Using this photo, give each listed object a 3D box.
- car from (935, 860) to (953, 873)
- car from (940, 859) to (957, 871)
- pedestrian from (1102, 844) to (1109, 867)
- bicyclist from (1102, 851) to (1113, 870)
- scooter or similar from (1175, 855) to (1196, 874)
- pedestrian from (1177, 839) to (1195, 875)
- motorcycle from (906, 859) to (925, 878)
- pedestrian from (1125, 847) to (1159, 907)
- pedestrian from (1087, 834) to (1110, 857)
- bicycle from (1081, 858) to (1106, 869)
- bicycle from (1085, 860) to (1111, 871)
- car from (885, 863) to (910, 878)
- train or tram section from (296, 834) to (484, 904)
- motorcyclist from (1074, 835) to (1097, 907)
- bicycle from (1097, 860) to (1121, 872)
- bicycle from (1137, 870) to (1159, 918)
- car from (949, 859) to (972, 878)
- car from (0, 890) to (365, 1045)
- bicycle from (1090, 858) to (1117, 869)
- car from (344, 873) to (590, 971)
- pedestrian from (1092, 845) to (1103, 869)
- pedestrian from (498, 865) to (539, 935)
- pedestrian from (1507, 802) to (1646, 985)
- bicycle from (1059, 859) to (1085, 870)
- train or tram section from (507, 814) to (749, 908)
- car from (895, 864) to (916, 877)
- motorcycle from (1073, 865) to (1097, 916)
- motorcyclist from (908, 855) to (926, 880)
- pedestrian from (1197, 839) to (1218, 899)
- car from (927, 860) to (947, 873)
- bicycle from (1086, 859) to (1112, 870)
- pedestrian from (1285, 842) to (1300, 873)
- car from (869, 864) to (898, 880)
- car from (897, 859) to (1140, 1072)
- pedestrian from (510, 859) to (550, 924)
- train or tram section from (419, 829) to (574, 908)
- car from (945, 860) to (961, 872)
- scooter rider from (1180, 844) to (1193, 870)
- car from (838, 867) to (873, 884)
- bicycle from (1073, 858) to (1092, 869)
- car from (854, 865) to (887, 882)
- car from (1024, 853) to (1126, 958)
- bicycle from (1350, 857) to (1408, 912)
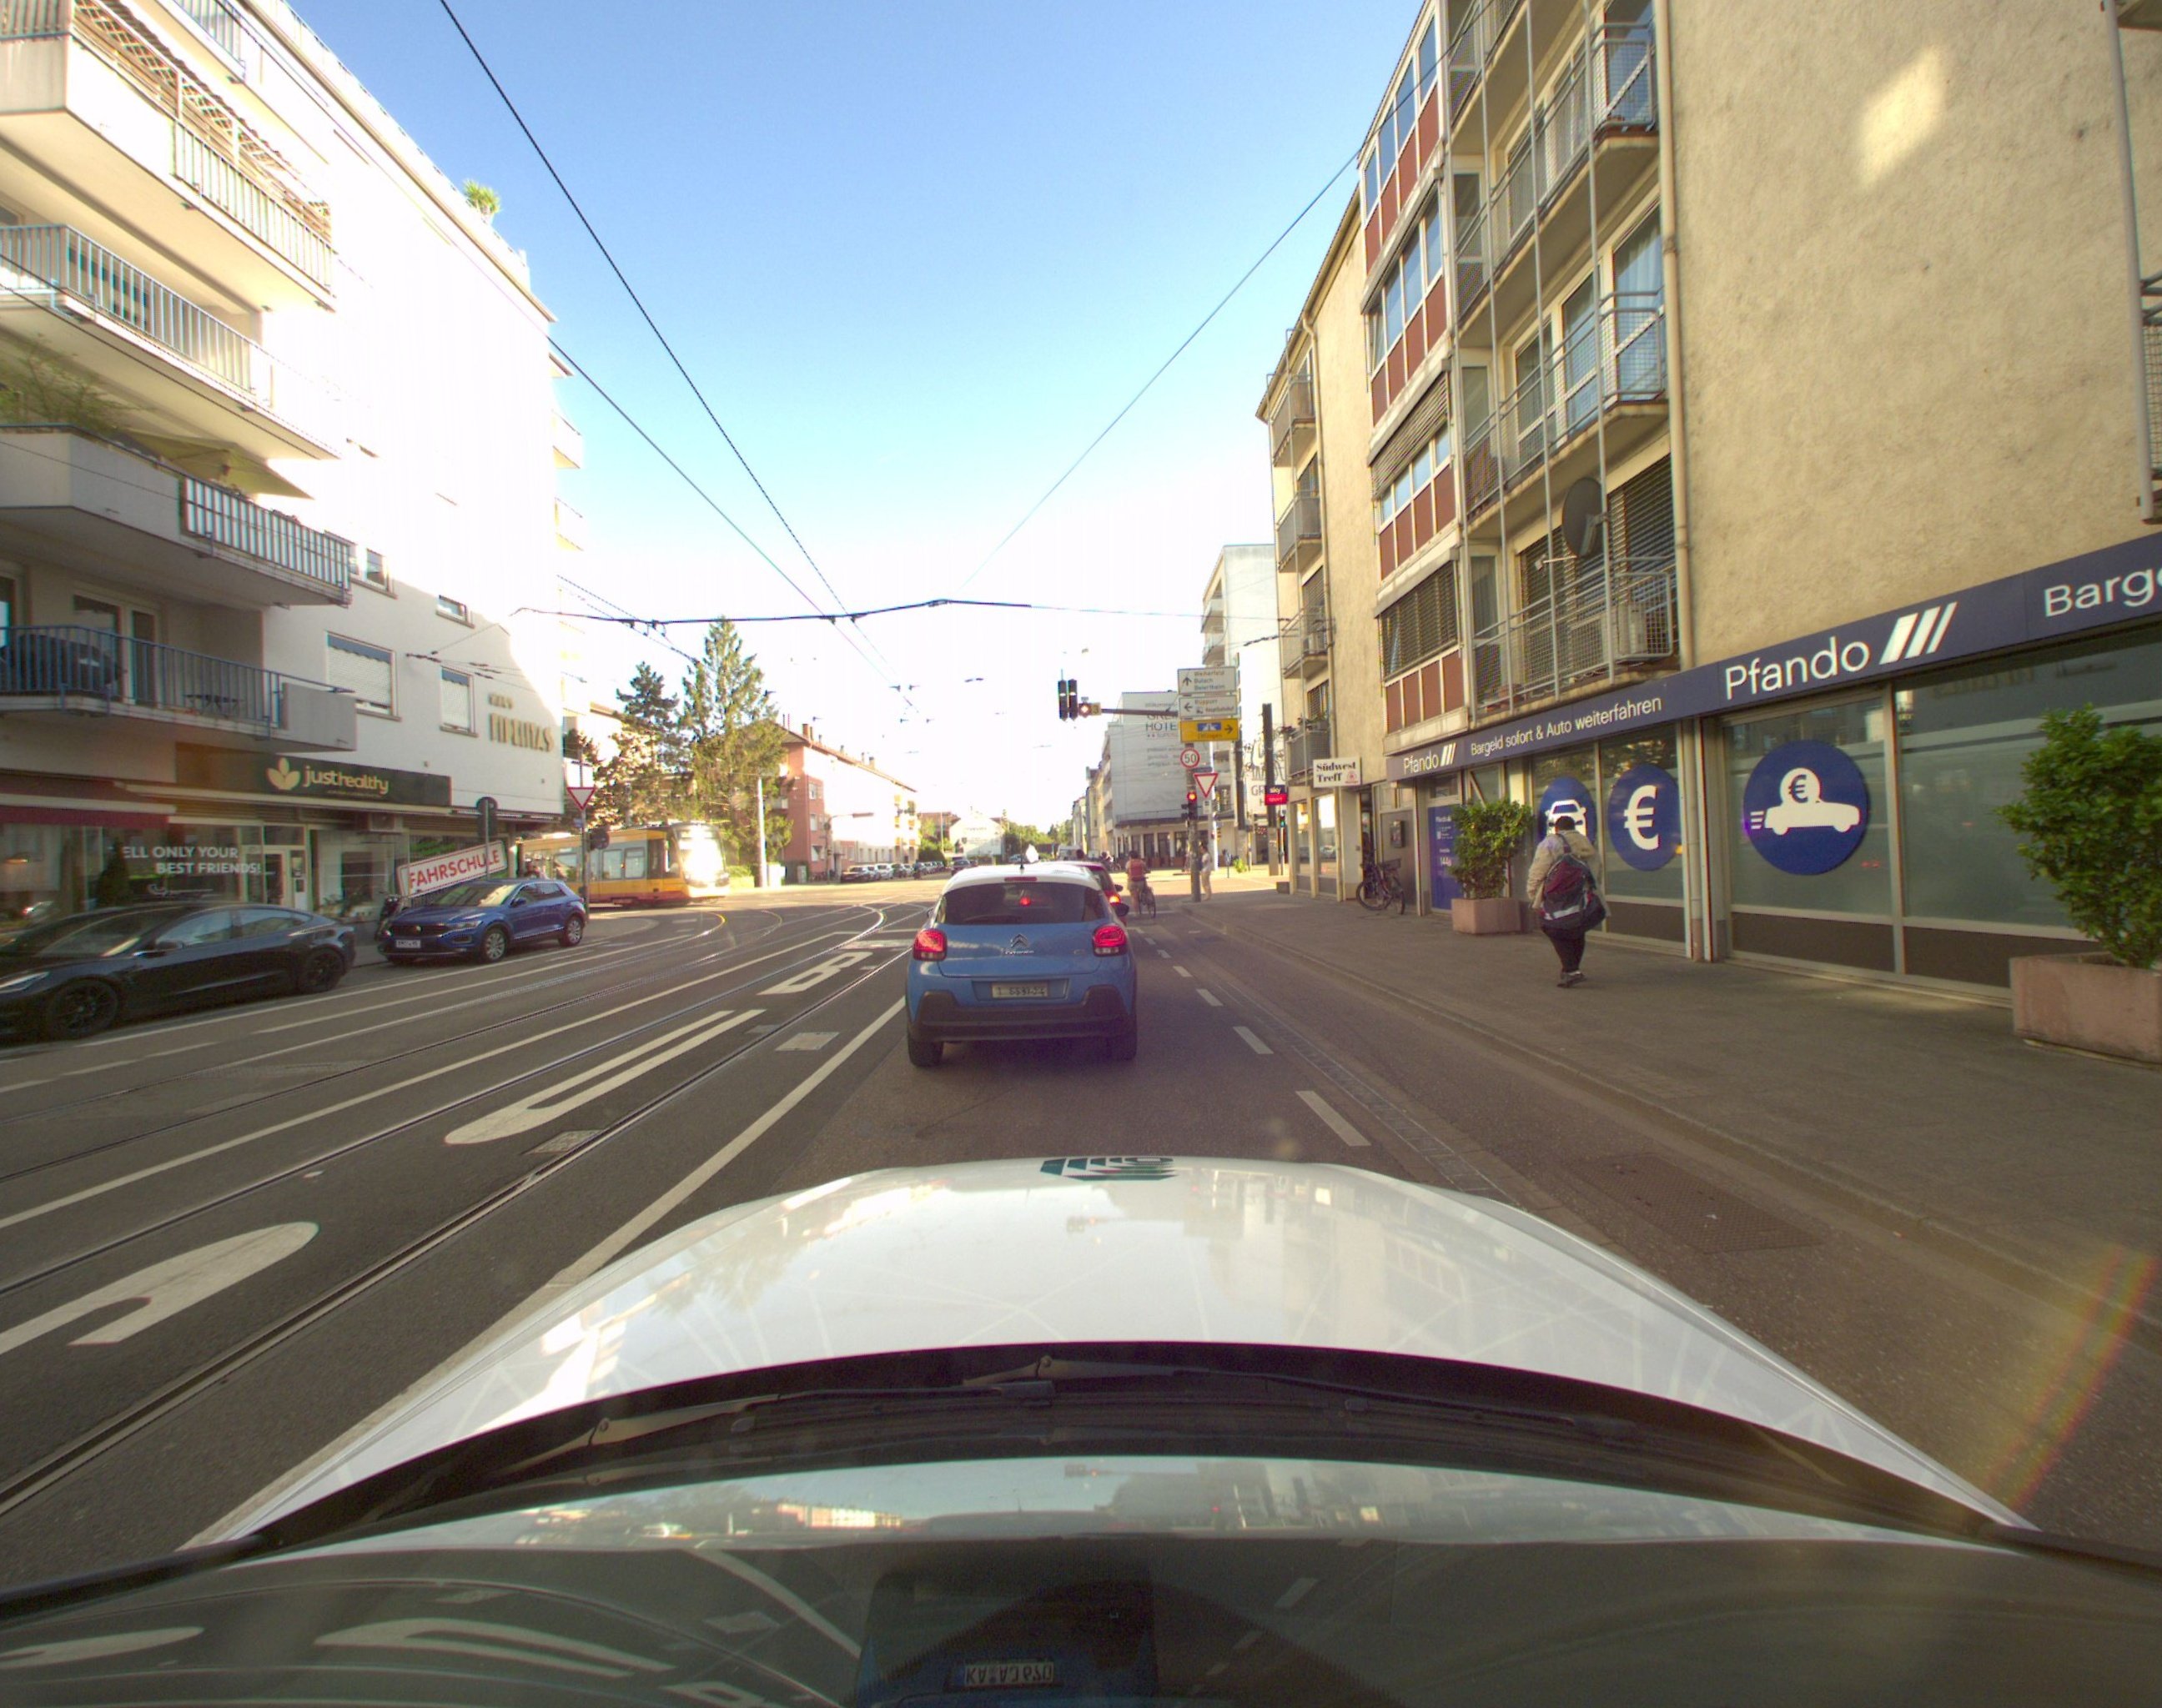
[{"bbox_3d":[-18.871,1.677,111.975,1.877,1.687,3.998,0,-1,-1],"label":"car"},{"bbox_3d":[-19.078,1.567,117.257,1.828,1.687,3.998,0,-1,-1],"label":"car"},{"bbox_3d":[2.137,0.147,70.300,0.575,2.014,0.625,0,-1,-1],"label":"pedestrian"},{"bbox_3d":[2.028,0.514,62.448,0.739,1.477,0.565,-1,-1,20],"label":"bicyclist"},{"bbox_3d":[7.336,0.719,57.410,1.339,1.269,0.446,-3,-1,19],"label":"scooter or similar"},{"bbox_3d":[6.046,0.175,46.941,0.922,2.014,0.760,0,-1,1],"label":"pedestrian"},{"bbox_3d":[-13.667,1.178,67.378,0.921,1.486,3.724,0,-1,-1],"label":"motorcycle"},{"bbox_3d":[1.513,0.574,20.300,0.775,1.460,0.681,0,-1,-2],"label":"pedestrian"},{"bbox_3d":[1.629,-0.727,73.685,1.986,2.014,4.001,0,-1,2],"label":"pedestrian"},{"bbox_3d":[1.054,0.821,68.436,2.130,0.901,0.366,0,-1,-7],"label":"bicycle"},{"bbox_3d":[1.421,0.929,67.678,2.130,0.901,0.366,0,-1,-7],"label":"bicycle"},{"bbox_3d":[-19.534,1.756,86.739,1.781,1.498,3.998,0,-1,-1],"label":"car"},{"bbox_3d":[-39.675,0.833,46.493,14.086,3.632,2.770,-1,-1,26],"label":"train or tram section"},{"bbox_3d":[0.120,0.406,19.744,0.524,1.716,0.717,0,-1,1],"label":"motorcyclist"},{"bbox_3d":[2.139,0.926,62.362,1.837,0.903,0.352,-1,-1,21],"label":"bicycle"},{"bbox_3d":[1.687,0.979,20.665,0.426,1.123,1.999,0,-1,2],"label":"bicycle"},{"bbox_3d":[-11.347,1.340,76.866,1.770,1.666,3.854,0,-1,-2],"label":"car"},{"bbox_3d":[-12.020,1.292,10.440,1.816,1.387,4.425,-2,0,-2],"label":"car"},{"bbox_3d":[1.815,0.773,66.217,2.130,0.901,0.366,0,-1,-7],"label":"bicycle"},{"bbox_3d":[-11.947,1.238,16.270,1.864,1.531,4.068,-2,0,-2],"label":"car"},{"bbox_3d":[1.389,0.259,69.273,0.635,2.014,0.717,0,-1,-34],"label":"pedestrian"},{"bbox_3d":[-14.649,1.184,21.221,0.569,1.805,0.699,0,-1,1],"label":"pedestrian"},{"bbox_3d":[4.523,0.348,7.489,0.822,1.593,0.751,0,-1,1],"label":"pedestrian"},{"bbox_3d":[-0.721,0.879,66.476,2.130,0.901,0.366,0,-1,-7],"label":"bicycle"},{"bbox_3d":[-20.160,0.432,35.817,12.468,3.593,3.091,-2,0,29],"label":"train or tram section"},{"bbox_3d":[-19.962,1.846,92.745,1.728,1.498,3.996,0,-1,-2],"label":"car"},{"bbox_3d":[0.113,0.839,19.553,0.524,1.139,2.290,0,-1,2],"label":"motorcycle"},{"bbox_3d":[-13.652,1.150,67.760,1.182,2.013,1.275,-2,0,-1],"label":"motorcyclist"},{"bbox_3d":[3.777,0.444,24.395,0.515,1.783,0.595,0,-1,0],"label":"pedestrian"},{"bbox_3d":[-18.876,1.673,107.100,1.978,1.687,3.998,0,-1,-1],"label":"car"},{"bbox_3d":[1.463,0.869,67.242,2.130,0.901,0.366,0,-1,-7],"label":"bicycle"},{"bbox_3d":[10.763,0.179,41.407,0.730,1.601,0.751,-1,-1,15],"label":"pedestrian"},{"bbox_3d":[-19.391,1.741,80.092,1.781,1.511,4.150,0,0,1],"label":"car"},{"bbox_3d":[-0.372,0.772,7.300,1.648,1.444,3.524,0,-1,2],"label":"car"},{"bbox_3d":[-17.306,1.156,25.594,0.767,2.014,0.694,0,-1,-4],"label":"pedestrian"},{"bbox_3d":[-29.615,0.706,41.128,8.968,3.631,2.852,-1,-1,30],"label":"train or tram section"},{"bbox_3d":[-19.105,1.758,121.907,1.841,1.687,3.872,0,-1,-1],"label":"car"},{"bbox_3d":[7.437,0.196,57.377,0.716,1.832,0.721,-3,-1,19],"label":"scooter rider"},{"bbox_3d":[-19.195,1.811,69.452,1.787,1.421,3.996,0,0,1],"label":"car"},{"bbox_3d":[0.140,0.825,69.628,1.765,0.901,0.369,-1,-1,36],"label":"bicycle"},{"bbox_3d":[-19.287,1.786,74.855,1.808,1.498,4.302,0,0,2],"label":"car"},{"bbox_3d":[-0.039,0.769,13.295,1.419,1.467,2.925,-2,-1,2],"label":"car"},{"bbox_3d":[5.740,0.570,15.747,0.540,0.998,1.706,0,-1,2],"label":"bicycle"}]
